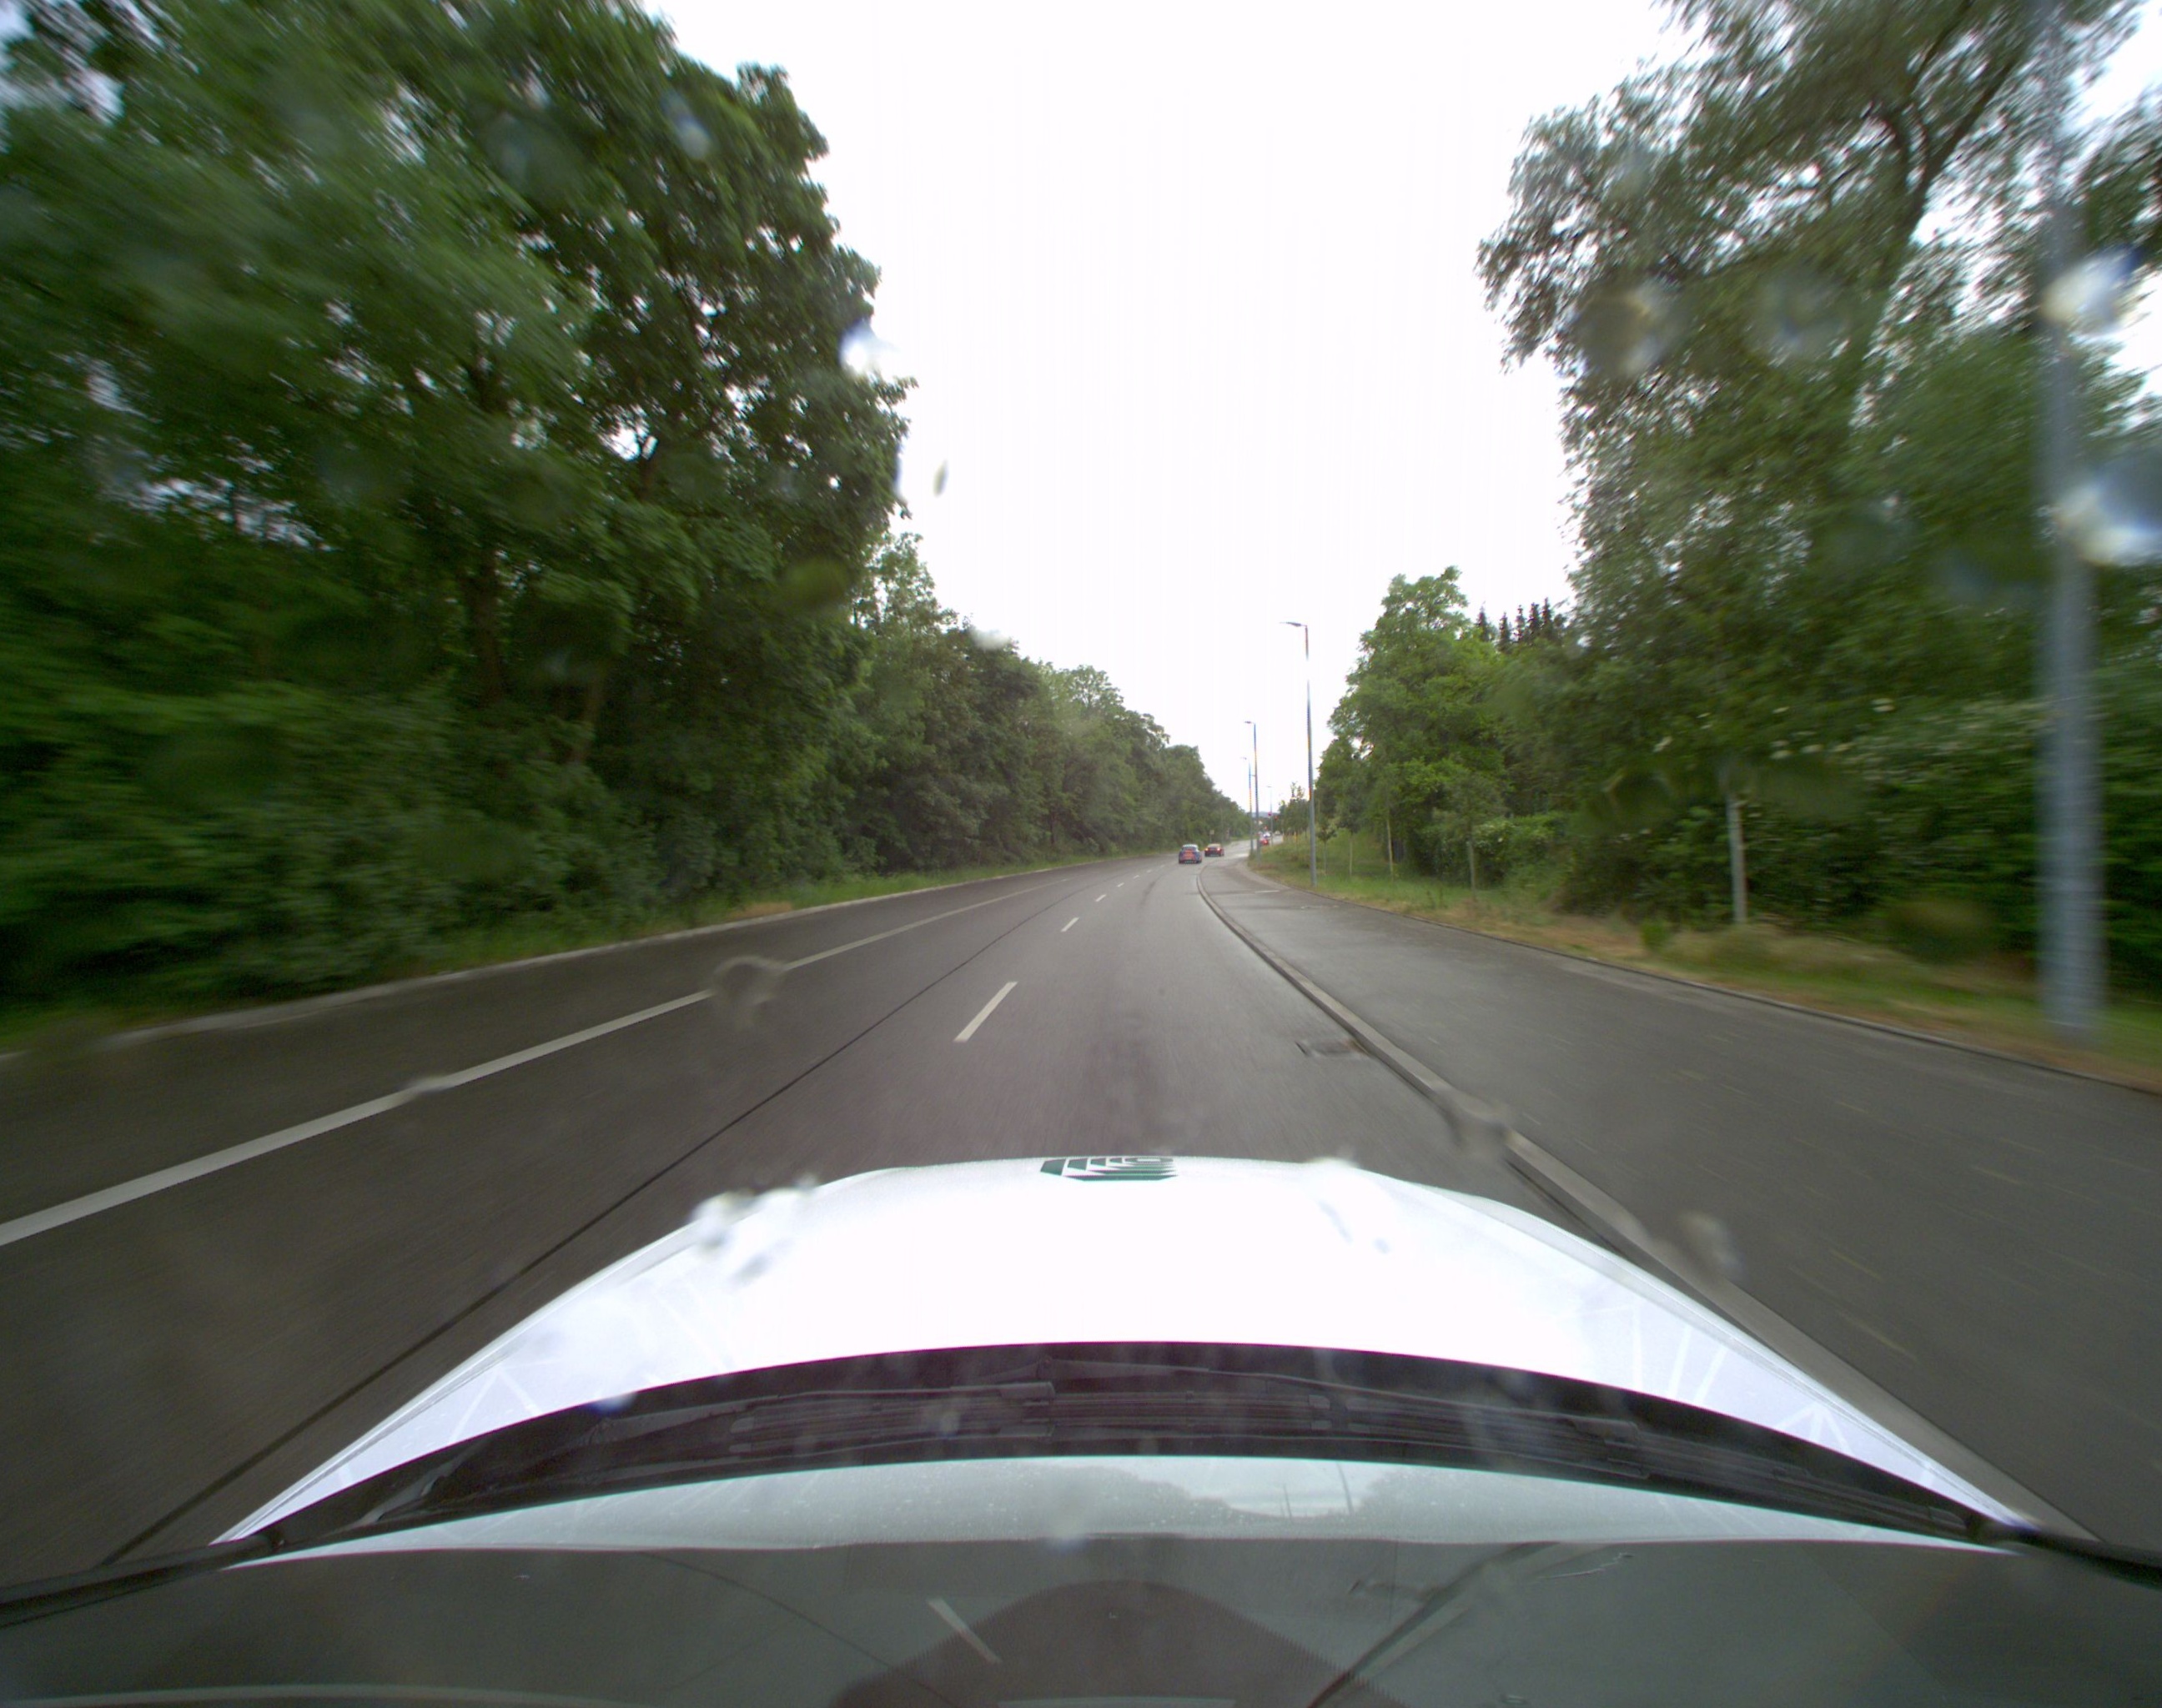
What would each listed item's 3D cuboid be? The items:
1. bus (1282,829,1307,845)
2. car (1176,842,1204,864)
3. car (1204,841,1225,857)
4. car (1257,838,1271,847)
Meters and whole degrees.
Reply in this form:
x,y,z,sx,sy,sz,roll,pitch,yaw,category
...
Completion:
x,y,z,sx,sy,sz,roll,pitch,yaw,category
42.318,-3.353,161.387,2.790,3.142,9.236,0,1,27,bus
9.335,-0.096,69.417,1.980,1.689,4.014,-2,2,12,car
15.006,-0.576,91.250,1.913,1.486,3.815,-2,2,14,car
31.986,-2.029,142.135,1.977,1.552,4.019,-1,1,18,car
